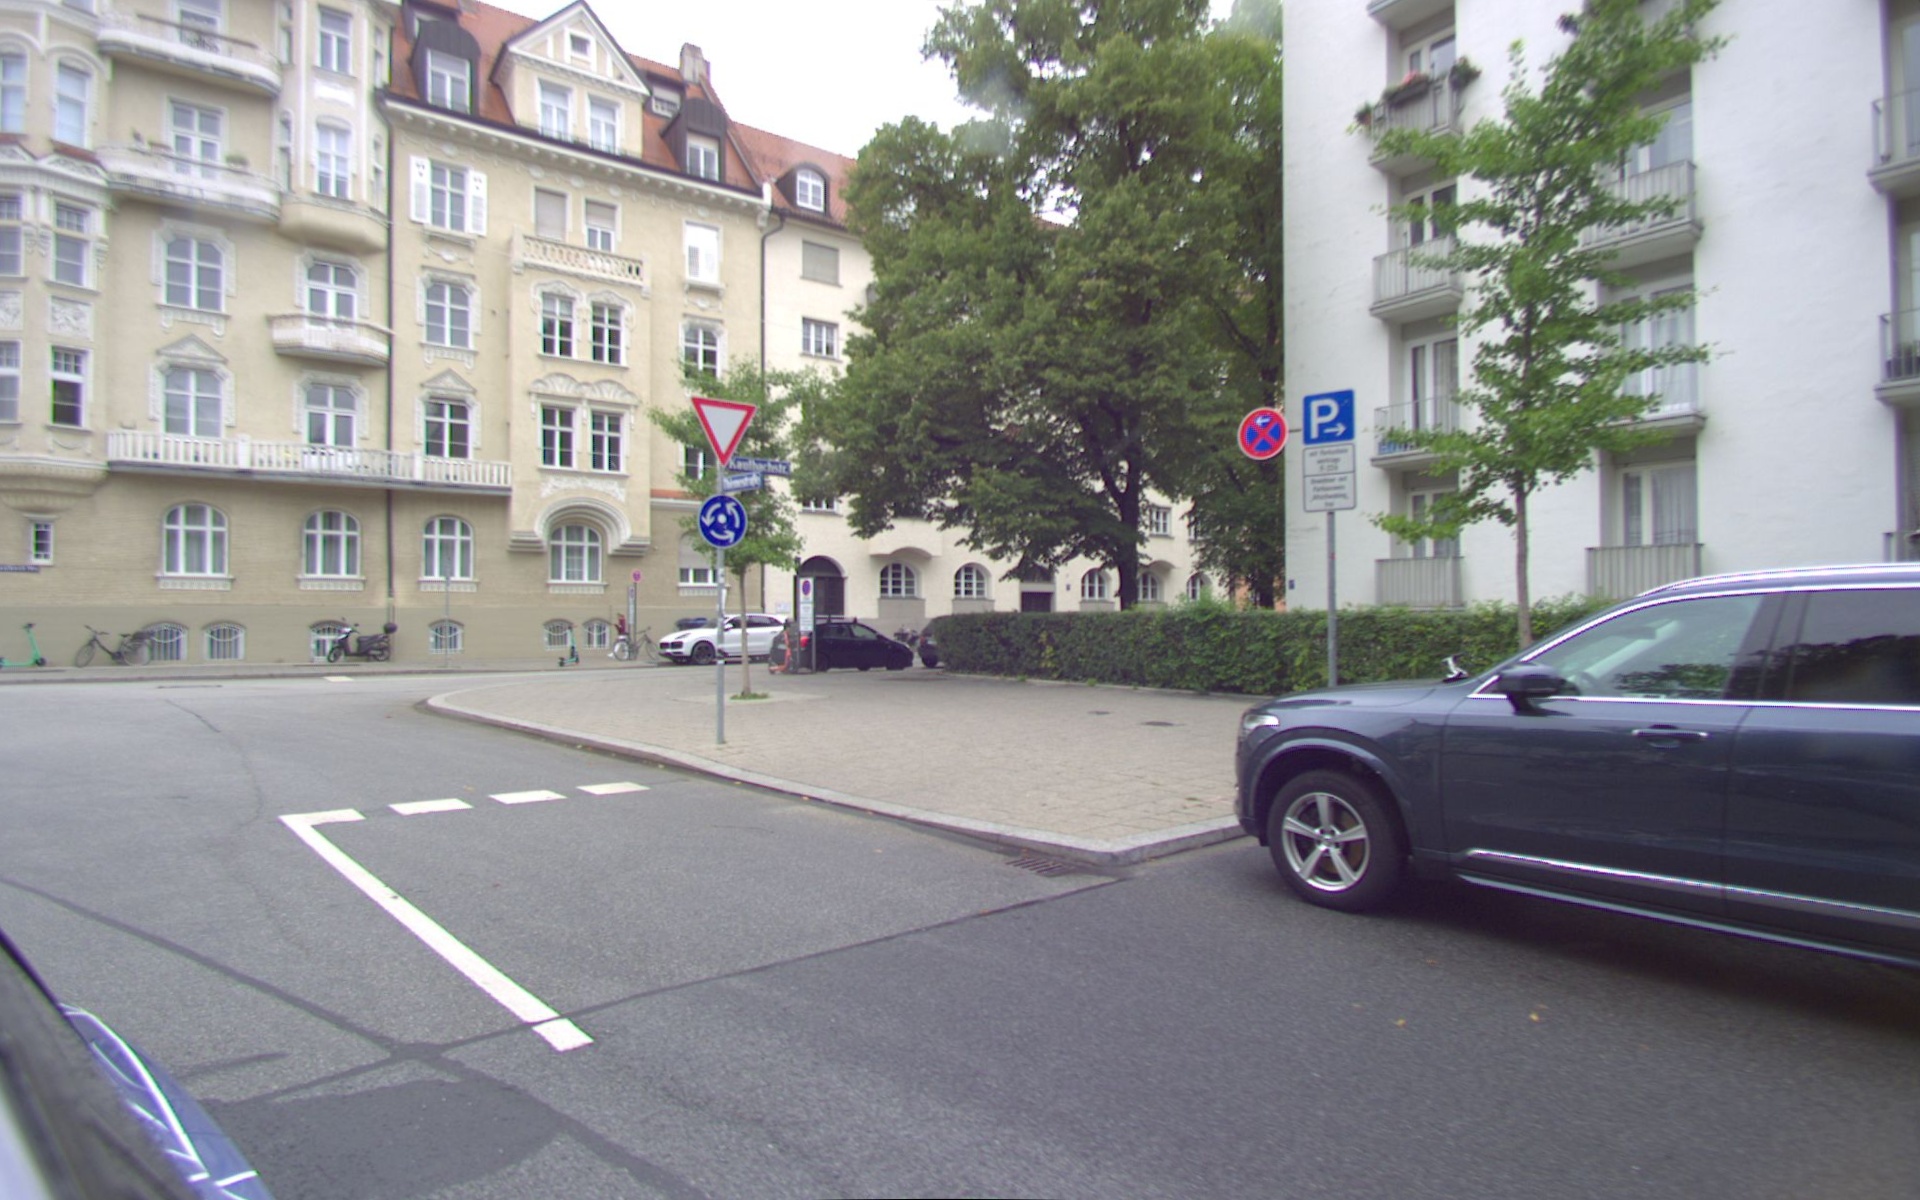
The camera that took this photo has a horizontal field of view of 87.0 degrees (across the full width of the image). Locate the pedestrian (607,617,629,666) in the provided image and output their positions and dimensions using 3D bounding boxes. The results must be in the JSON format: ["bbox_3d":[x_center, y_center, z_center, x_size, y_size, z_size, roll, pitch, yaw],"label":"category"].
[{"bbox_3d":[-11.923,1.442,35.266,0.597,1.677,0.464,1,-1,-31],"label":"pedestrian"}]

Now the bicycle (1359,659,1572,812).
[{"bbox_3d":[3.903,1.008,7.864,1.418,1.021,0.461,0,-1,39],"label":"bicycle"}]

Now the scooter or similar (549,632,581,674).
[{"bbox_3d":[-12.244,1.621,31.389,0.404,1.239,1.277,1,-1,3],"label":"scooter or similar"}]

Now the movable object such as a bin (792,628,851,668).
[{"bbox_3d":[-5.044,1.739,36.701,1.843,1.383,1.570,1,-1,-17],"label":"movable object such as a bin"}]

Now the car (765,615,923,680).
[{"bbox_3d":[-3.070,1.264,27.196,4.036,1.602,1.593,2,-3,-41],"label":"car"}]

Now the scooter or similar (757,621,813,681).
[{"bbox_3d":[-4.225,1.235,24.491,1.094,1.398,0.799,-2,-2,14],"label":"scooter or similar"}]

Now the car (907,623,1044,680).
[{"bbox_3d":[0.498,1.559,31.005,4.032,1.602,1.595,2,-1,-36],"label":"car"}]

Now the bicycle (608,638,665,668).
[{"bbox_3d":[-10.950,1.790,34.284,1.780,0.964,0.469,1,-1,-33],"label":"bicycle"}]

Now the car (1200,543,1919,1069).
[{"bbox_3d":[3.693,0.714,4.369,1.856,1.781,5.068,1,-1,-40],"label":"car"}]

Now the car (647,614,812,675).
[{"bbox_3d":[-7.741,1.473,34.165,4.948,1.880,2.171,2,-1,-36],"label":"car"}]

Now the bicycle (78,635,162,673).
[{"bbox_3d":[-23.157,1.473,27.945,1.757,0.999,0.544,1,-1,-40],"label":"bicycle"}]

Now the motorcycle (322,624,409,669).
[{"bbox_3d":[-18.378,1.425,31.332,2.209,1.336,0.825,1,-1,-38],"label":"motorcycle"}]

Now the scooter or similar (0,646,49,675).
[{"bbox_3d":[-24.711,1.581,26.505,0.315,0.693,1.223,0,-1,26],"label":"scooter or similar"}]
